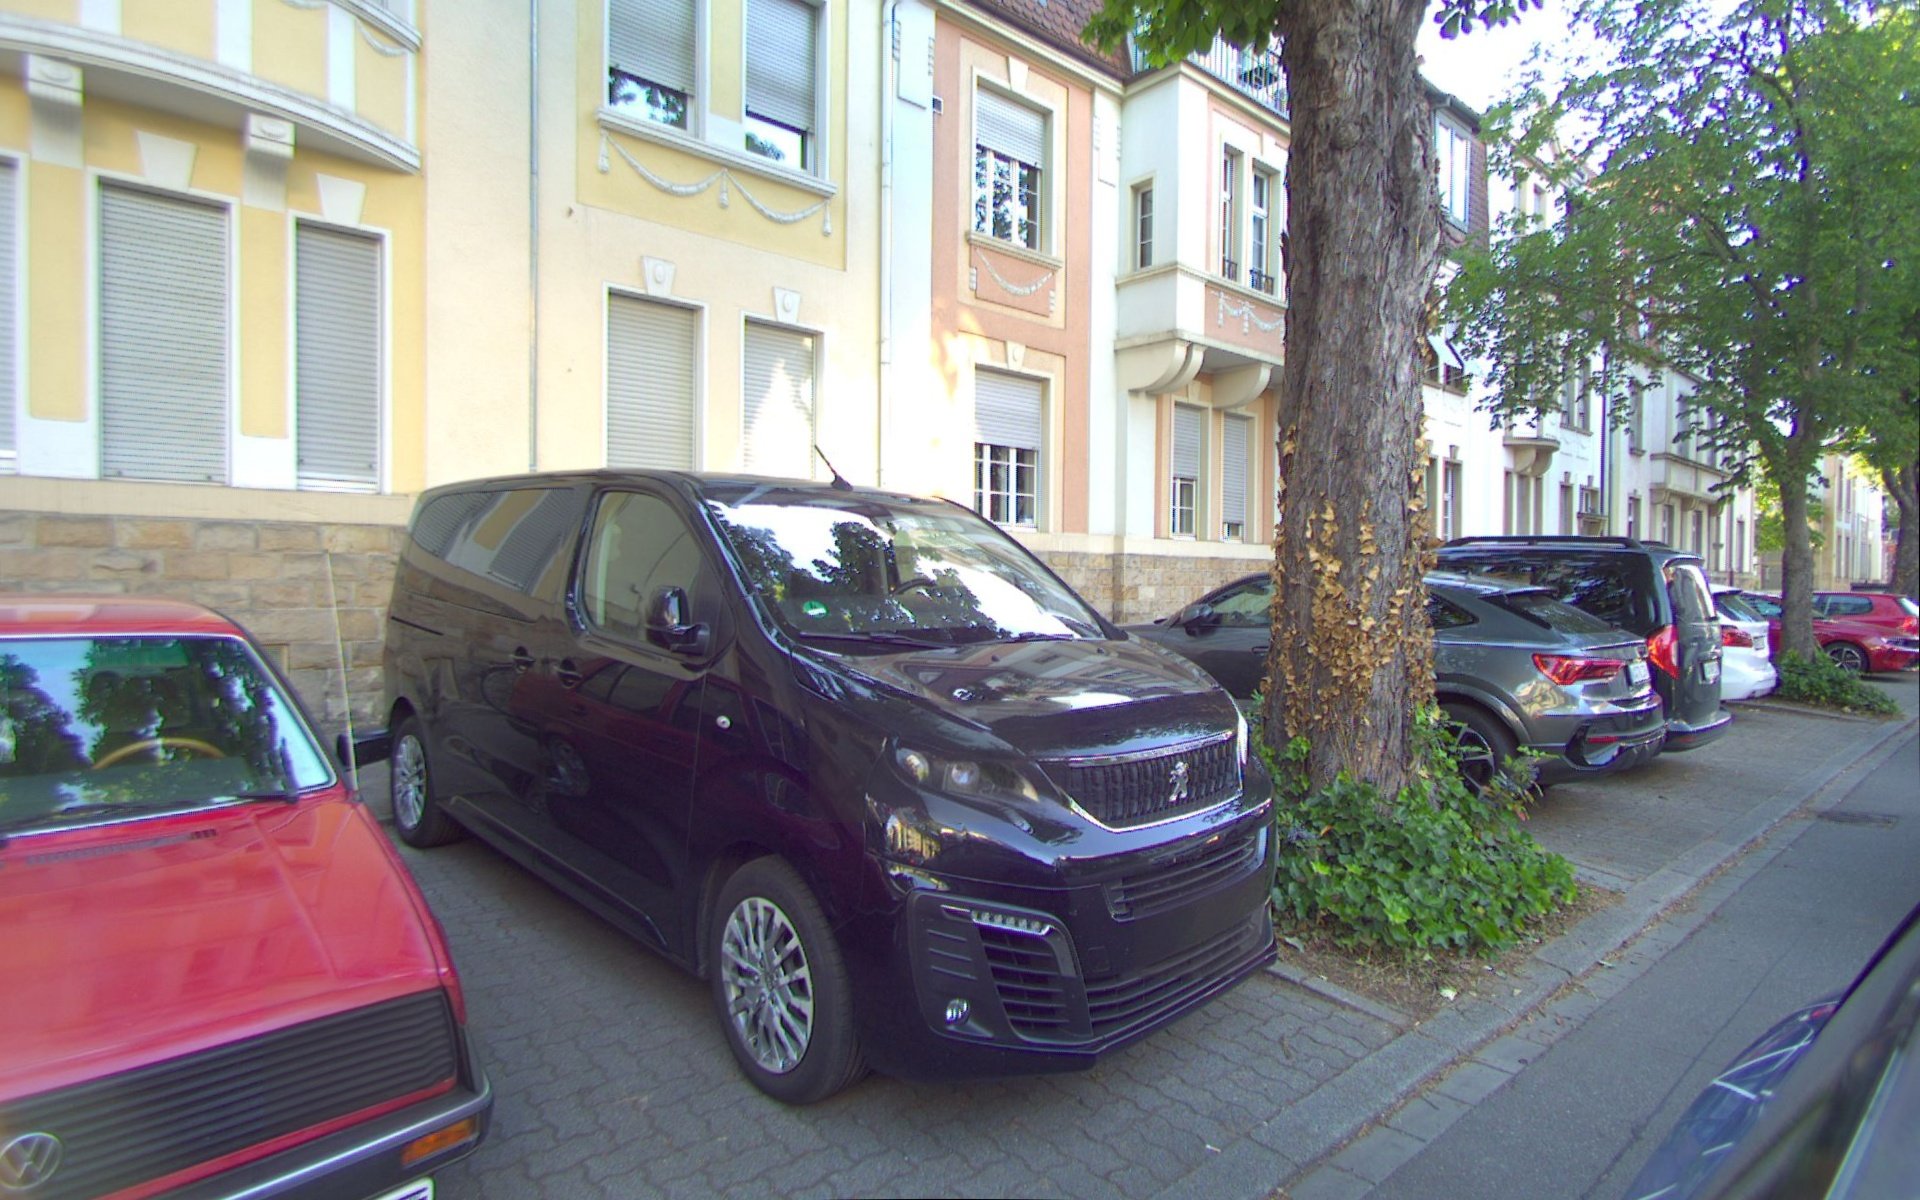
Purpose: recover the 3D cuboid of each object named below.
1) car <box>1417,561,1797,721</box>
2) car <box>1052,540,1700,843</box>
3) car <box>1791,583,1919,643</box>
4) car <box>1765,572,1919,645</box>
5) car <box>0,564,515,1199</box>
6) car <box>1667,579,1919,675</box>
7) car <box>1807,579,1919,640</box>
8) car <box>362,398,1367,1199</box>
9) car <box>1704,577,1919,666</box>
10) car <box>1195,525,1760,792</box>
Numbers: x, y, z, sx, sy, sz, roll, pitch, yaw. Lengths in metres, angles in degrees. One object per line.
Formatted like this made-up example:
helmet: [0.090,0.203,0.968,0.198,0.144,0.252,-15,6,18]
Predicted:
car: [7.738,0.369,12.327,1.513,1.569,3.616,-1,3,-45]
car: [2.793,0.397,7.539,1.569,1.611,4.165,-1,4,-44]
car: [23.951,0.334,26.127,1.511,1.420,3.621,0,2,-40]
car: [21.644,0.181,24.099,1.511,1.584,3.621,0,2,-40]
car: [-2.788,0.614,2.983,1.532,1.336,3.917,-1,4,-43]
car: [14.984,0.400,18.037,1.511,1.420,3.621,0,3,-40]
car: [25.950,0.252,27.992,1.511,1.584,3.621,0,2,-40]
car: [-0.970,0.351,4.539,1.851,1.846,4.825,-1,4,-44]
car: [16.885,0.371,19.678,1.511,1.482,3.621,0,3,-40]
car: [4.346,0.283,9.025,1.569,1.849,4.165,-1,4,-44]
